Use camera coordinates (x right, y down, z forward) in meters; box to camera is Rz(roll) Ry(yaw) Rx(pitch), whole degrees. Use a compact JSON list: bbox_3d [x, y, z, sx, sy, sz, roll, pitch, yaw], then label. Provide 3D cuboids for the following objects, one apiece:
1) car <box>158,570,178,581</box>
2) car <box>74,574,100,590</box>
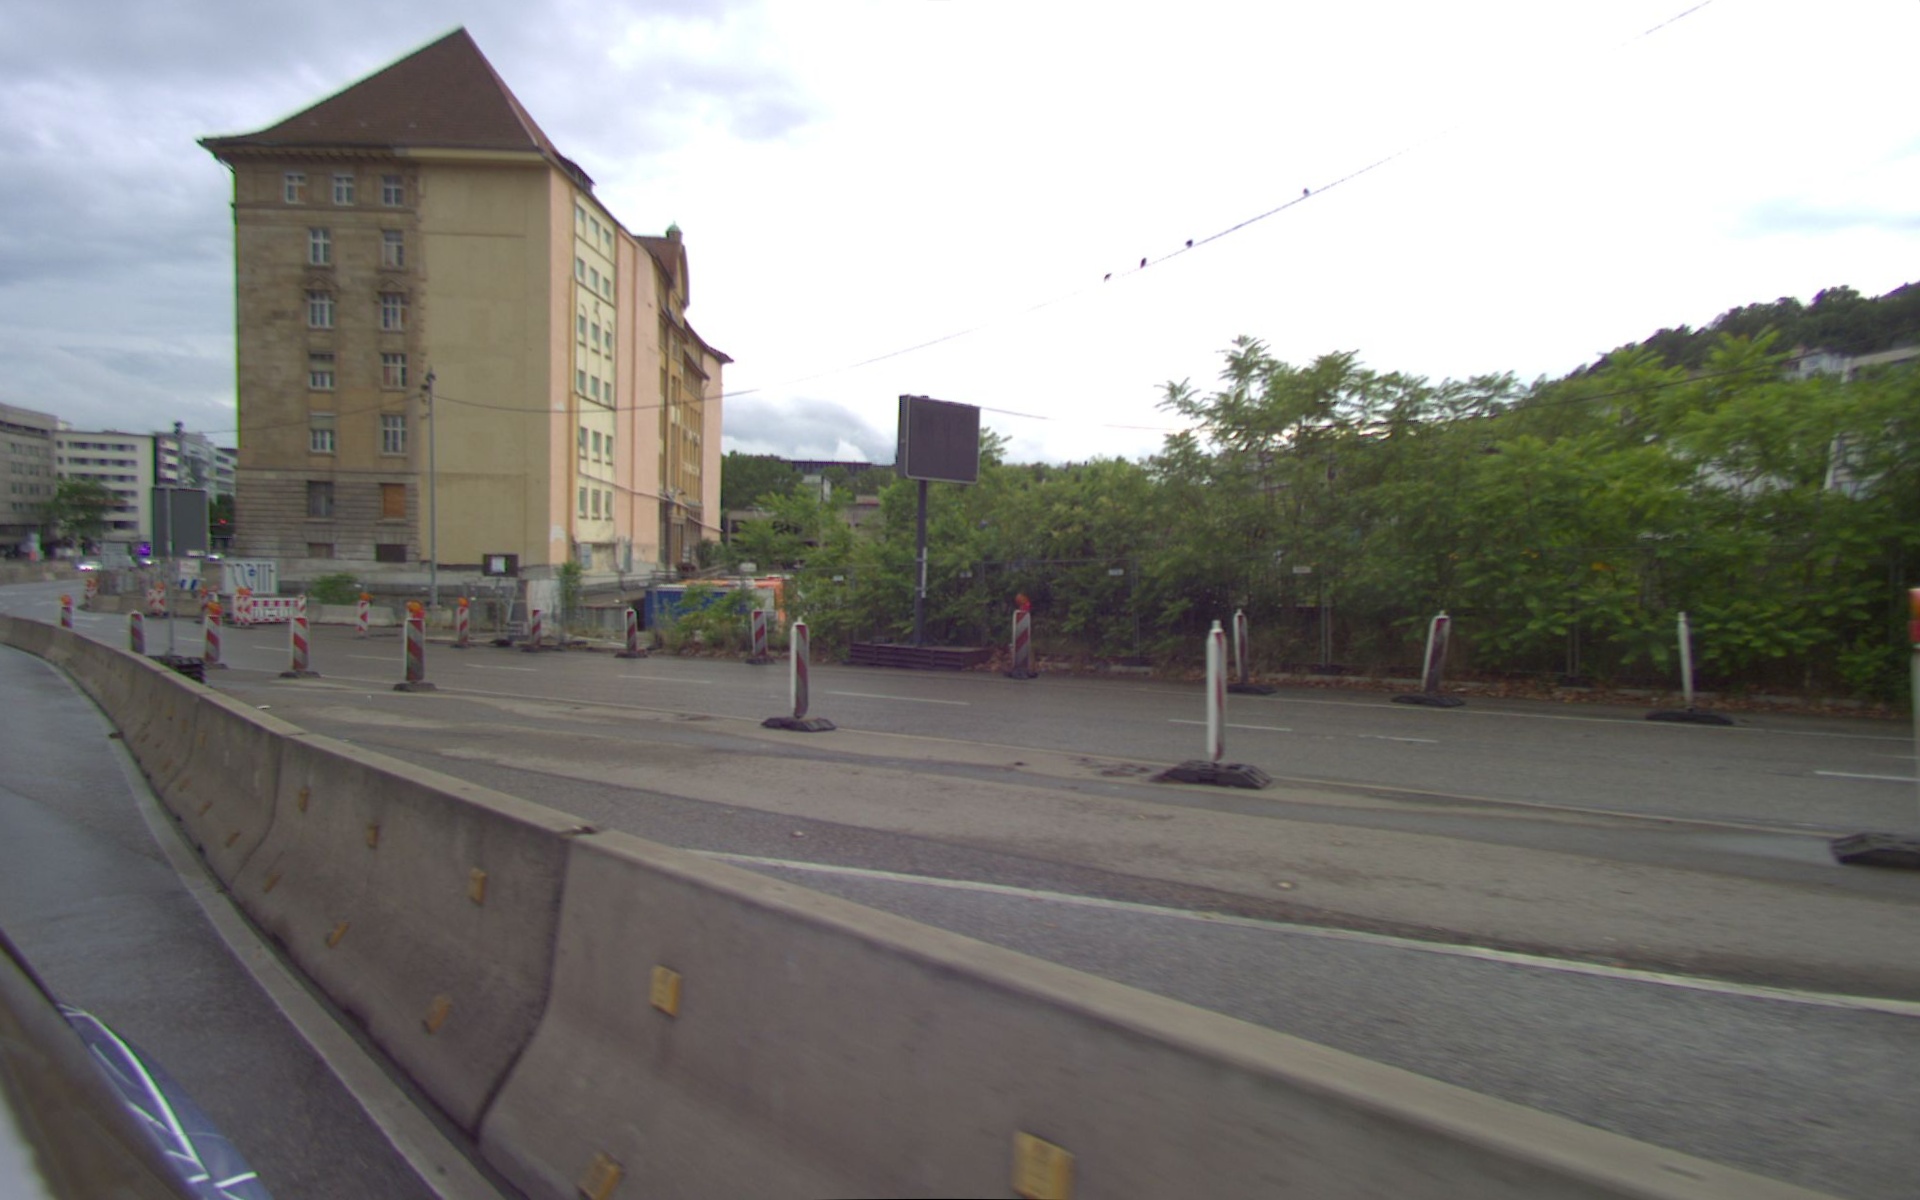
[{"bbox_3d":[-110.924,-3.428,141.806,1.742,1.532,4.400,0,2,-33],"label":"car"},{"bbox_3d":[-116.701,-2.335,135.320,1.966,2.029,4.012,0,0,-30],"label":"car"}]
